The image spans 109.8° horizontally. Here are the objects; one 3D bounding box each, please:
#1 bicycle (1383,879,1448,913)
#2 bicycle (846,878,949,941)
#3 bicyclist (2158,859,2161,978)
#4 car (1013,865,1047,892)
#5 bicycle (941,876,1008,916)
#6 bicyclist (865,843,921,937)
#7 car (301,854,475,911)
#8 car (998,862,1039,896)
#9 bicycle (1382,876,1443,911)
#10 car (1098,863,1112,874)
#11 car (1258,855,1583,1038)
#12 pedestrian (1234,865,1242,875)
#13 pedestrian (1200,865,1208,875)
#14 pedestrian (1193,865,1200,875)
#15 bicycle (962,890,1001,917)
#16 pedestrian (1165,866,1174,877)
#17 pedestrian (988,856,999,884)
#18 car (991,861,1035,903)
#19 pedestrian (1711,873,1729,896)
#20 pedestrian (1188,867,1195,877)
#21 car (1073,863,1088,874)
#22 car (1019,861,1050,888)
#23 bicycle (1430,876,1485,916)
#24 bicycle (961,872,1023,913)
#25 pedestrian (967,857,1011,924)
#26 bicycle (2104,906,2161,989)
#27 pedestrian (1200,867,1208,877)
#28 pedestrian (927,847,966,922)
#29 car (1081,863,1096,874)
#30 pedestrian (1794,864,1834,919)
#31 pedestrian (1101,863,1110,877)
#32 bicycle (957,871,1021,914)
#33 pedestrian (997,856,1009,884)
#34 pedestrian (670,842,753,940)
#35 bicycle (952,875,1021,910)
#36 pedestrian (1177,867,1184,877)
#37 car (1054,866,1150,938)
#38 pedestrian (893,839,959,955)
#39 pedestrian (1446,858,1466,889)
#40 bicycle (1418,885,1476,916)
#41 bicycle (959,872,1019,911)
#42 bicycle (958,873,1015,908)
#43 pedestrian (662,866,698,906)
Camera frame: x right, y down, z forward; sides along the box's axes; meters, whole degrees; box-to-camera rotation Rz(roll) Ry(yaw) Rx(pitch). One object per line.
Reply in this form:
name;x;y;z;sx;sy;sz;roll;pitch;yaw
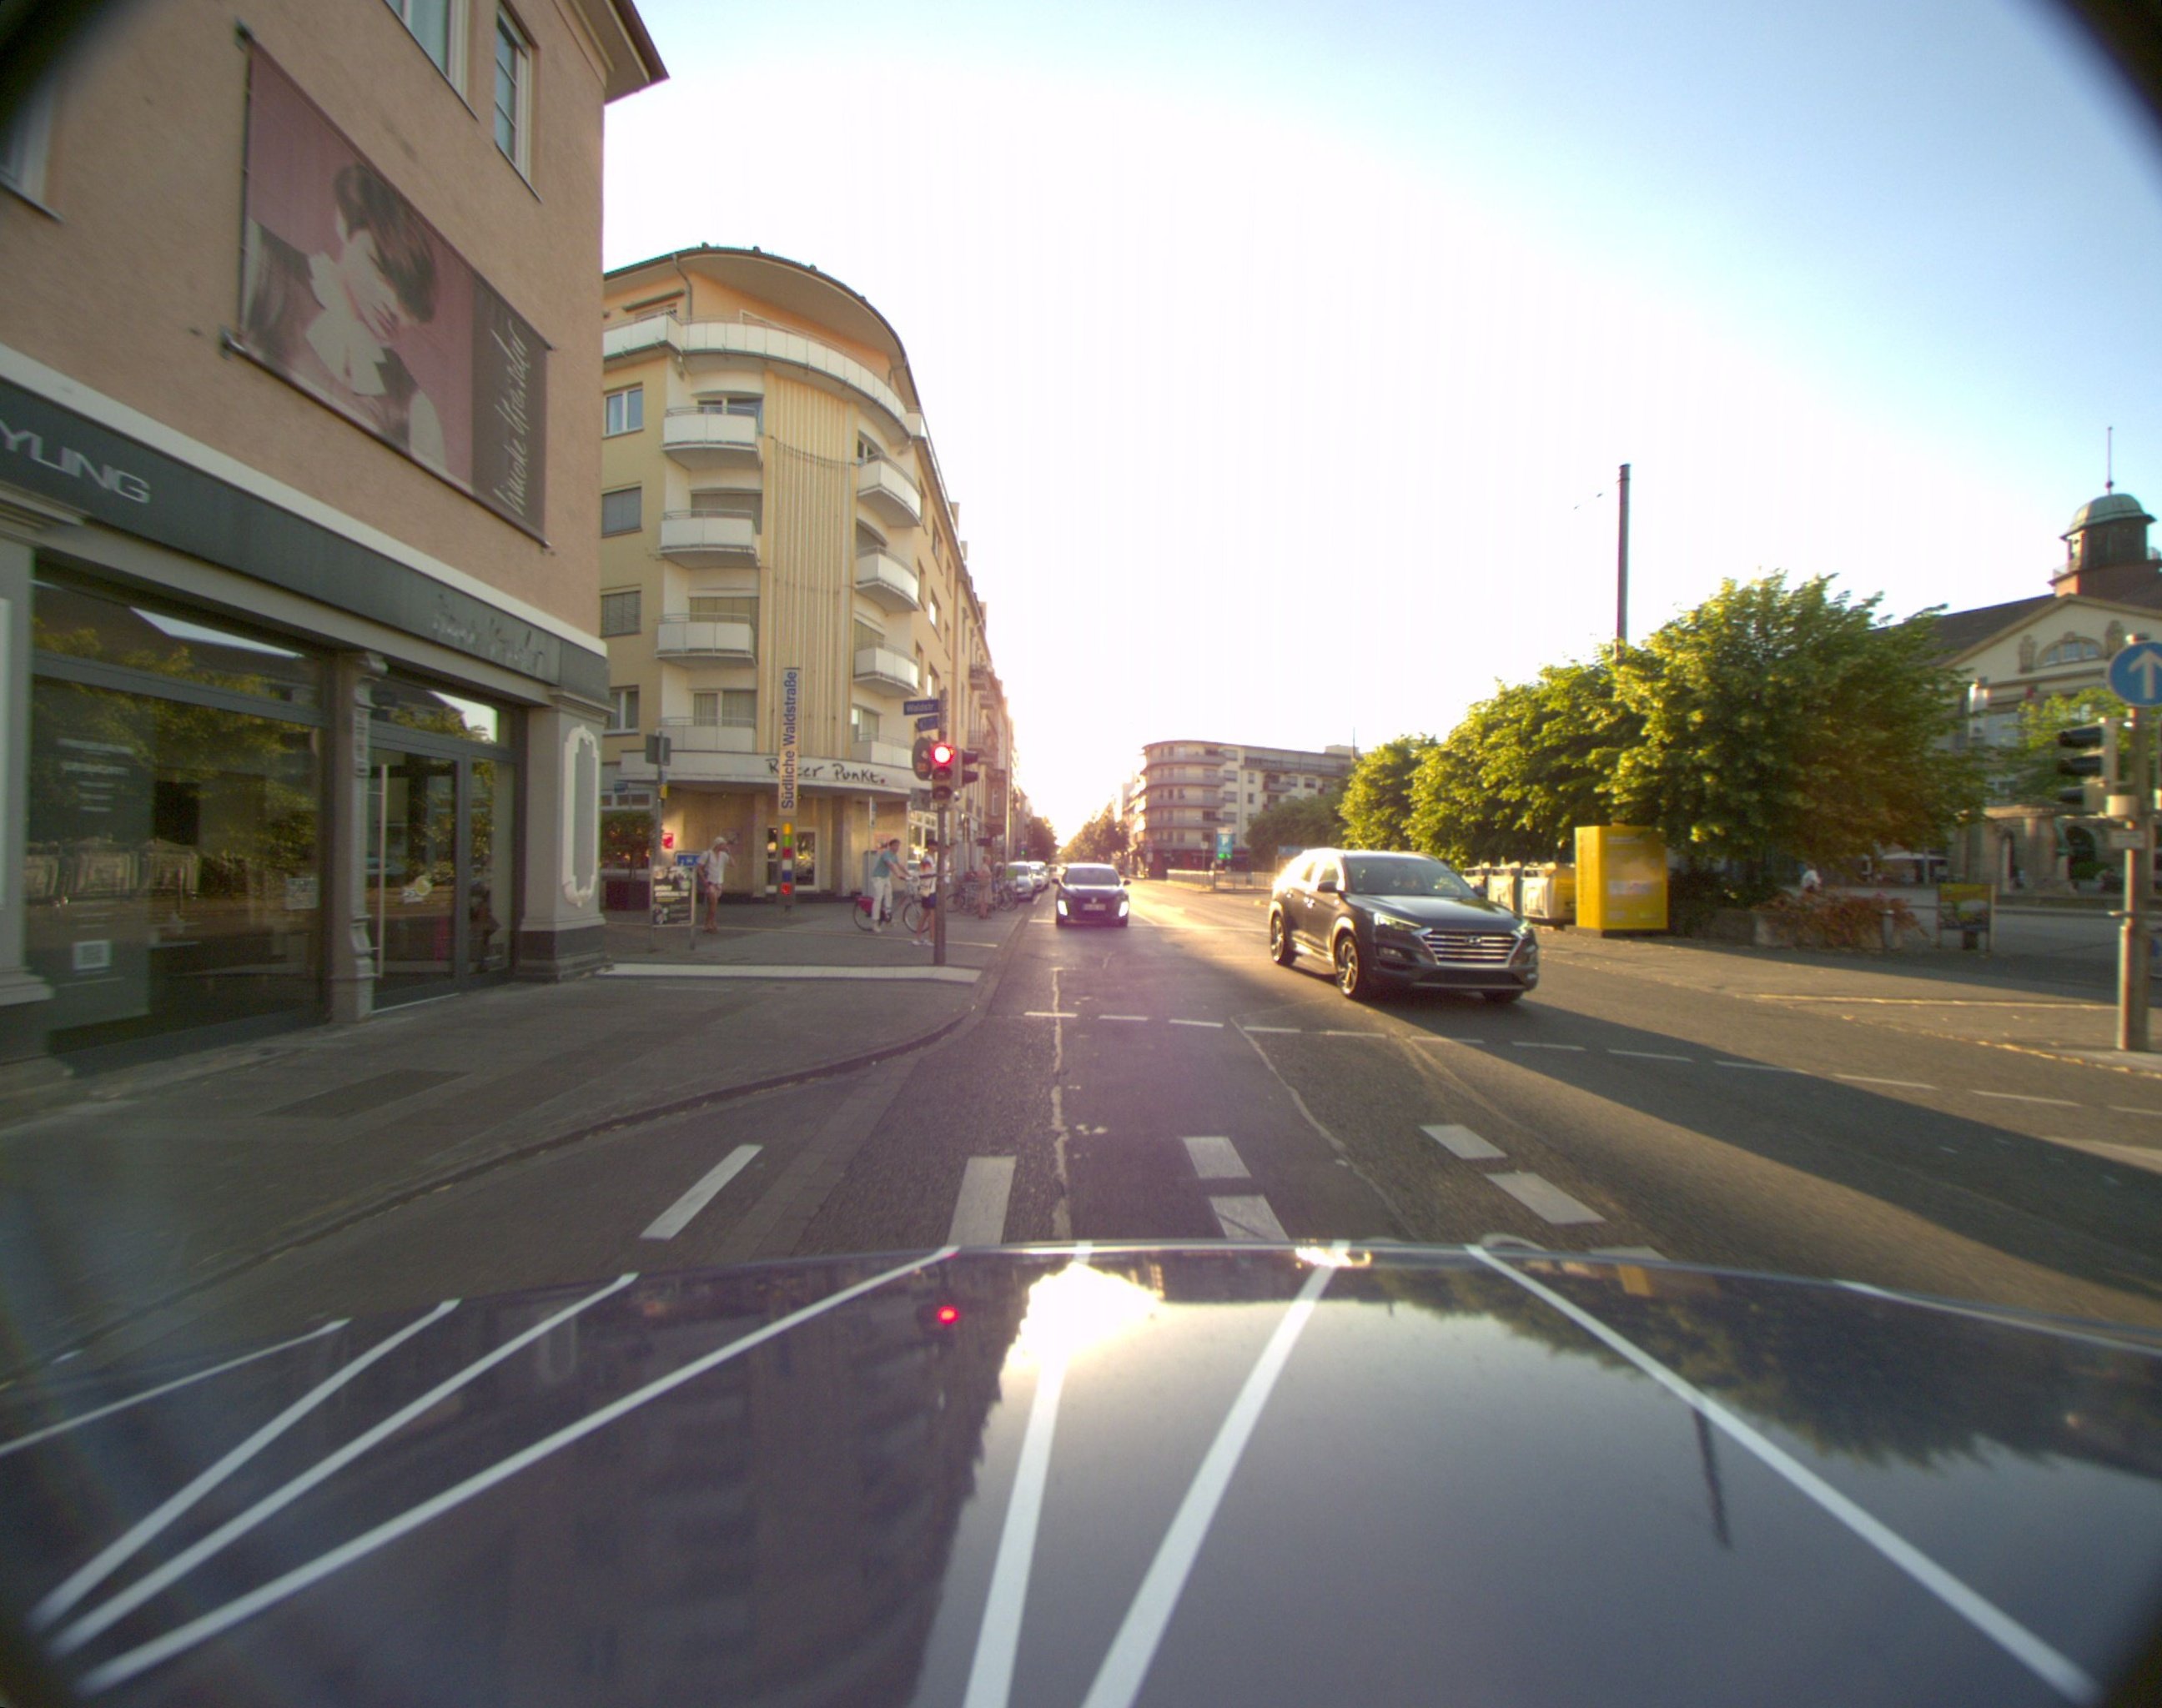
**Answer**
bicycle;11.447;1.427;26.000;2.031;1.128;0.548;-1;0;-6
bicycle;-3.648;1.085;15.176;1.823;1.179;0.794;1;0;7
bicyclist;15.903;0.927;10.505;0.777;1.714;0.856;1;0;14
car;-2.933;1.369;44.088;1.738;1.448;4.610;0;-1;-1
bicycle;-3.025;1.199;21.575;1.789;1.057;0.718;2;-1;-13
bicyclist;-3.754;0.704;15.217;0.835;1.815;0.831;1;0;6
car;-20.837;0.815;22.872;4.432;1.575;1.949;0;0;19
car;-3.105;1.236;38.459;1.821;1.611;4.203;0;-1;-1
bicycle;12.088;1.433;27.726;2.031;1.245;0.548;-1;0;-6
car;3.874;2.319;123.713;1.999;1.805;3.999;0;-1;-3
car;3.714;0.908;9.366;1.877;1.679;4.449;2;-1;-2
pedestrian;20.918;2.145;101.160;0.731;1.314;0.891;0;0;37
pedestrian;16.236;2.149;100.149;0.689;1.314;0.819;0;0;-26
pedestrian;15.063;2.064;98.838;0.733;1.314;0.888;0;0;-4
bicycle;-2.760;1.366;21.002;1.008;0.677;1.049;1;-1;-11
pedestrian;11.292;2.228;97.449;0.890;1.314;0.731;0;0;-29
pedestrian;-6.294;1.160;54.660;0.673;2.002;0.851;0;0;-1
car;-2.821;1.129;32.188;1.702;1.607;4.681;0;-1;-4
pedestrian;30.516;1.464;36.314;0.461;1.056;0.531;-2;-2;18
pedestrian;14.378;2.348;98.707;0.732;1.314;0.888;0;0;-3
car;-0.089;2.243;117.646;1.878;1.621;4.176;3;-1;-7
car;-2.983;1.328;49.640;1.877;1.664;4.430;0;-1;-1
bicycle;12.231;1.352;24.683;1.591;1.245;0.445;-1;0;-3
bicycle;-2.743;1.181;23.269;1.789;1.166;0.621;2;-1;-13
pedestrian;-2.356;0.916;19.483;0.789;1.643;0.782;1;0;41
bicycle;15.877;1.326;10.575;1.917;1.111;0.706;1;0;15
pedestrian;16.042;2.332;99.039;0.733;1.314;0.888;0;0;-15
pedestrian;-3.355;0.739;18.850;0.827;1.806;0.870;1;0;-18
car;1.044;2.000;104.961;1.791;1.457;3.956;2;0;-3
pedestrian;22.315;1.127;23.139;0.703;1.611;0.842;0;1;31
pedestrian;2.641;1.709;80.954;0.678;1.508;0.676;1;-1;-44
bicycle;-2.721;1.128;22.523;1.849;1.232;0.639;1;0;-7
pedestrian;-5.556;1.156;54.184;0.763;2.002;0.851;0;0;-1
pedestrian;-6.861;0.672;14.153;1.099;1.764;0.826;1;0;6
bicycle;-3.104;1.240;24.843;2.176;1.069;0.805;2;0;-9
pedestrian;12.772;2.298;97.693;0.887;1.185;0.733;0;0;8
car;0.621;1.024;18.017;1.907;1.438;4.452;1;0;6
pedestrian;-2.645;0.715;12.941;0.942;1.886;0.824;1;0;-23
pedestrian;24.098;1.255;48.840;0.907;2.002;0.738;0;0;-13
bicycle;12.123;1.545;25.204;1.678;0.973;0.548;-1;0;-6
bicycle;-2.897;1.180;23.897;1.789;1.166;0.621;2;-1;-13
bicycle;-3.225;1.224;25.839;1.851;1.116;0.594;2;1;-13
pedestrian;-12.098;0.969;22.924;0.636;1.178;0.706;0;0;16
